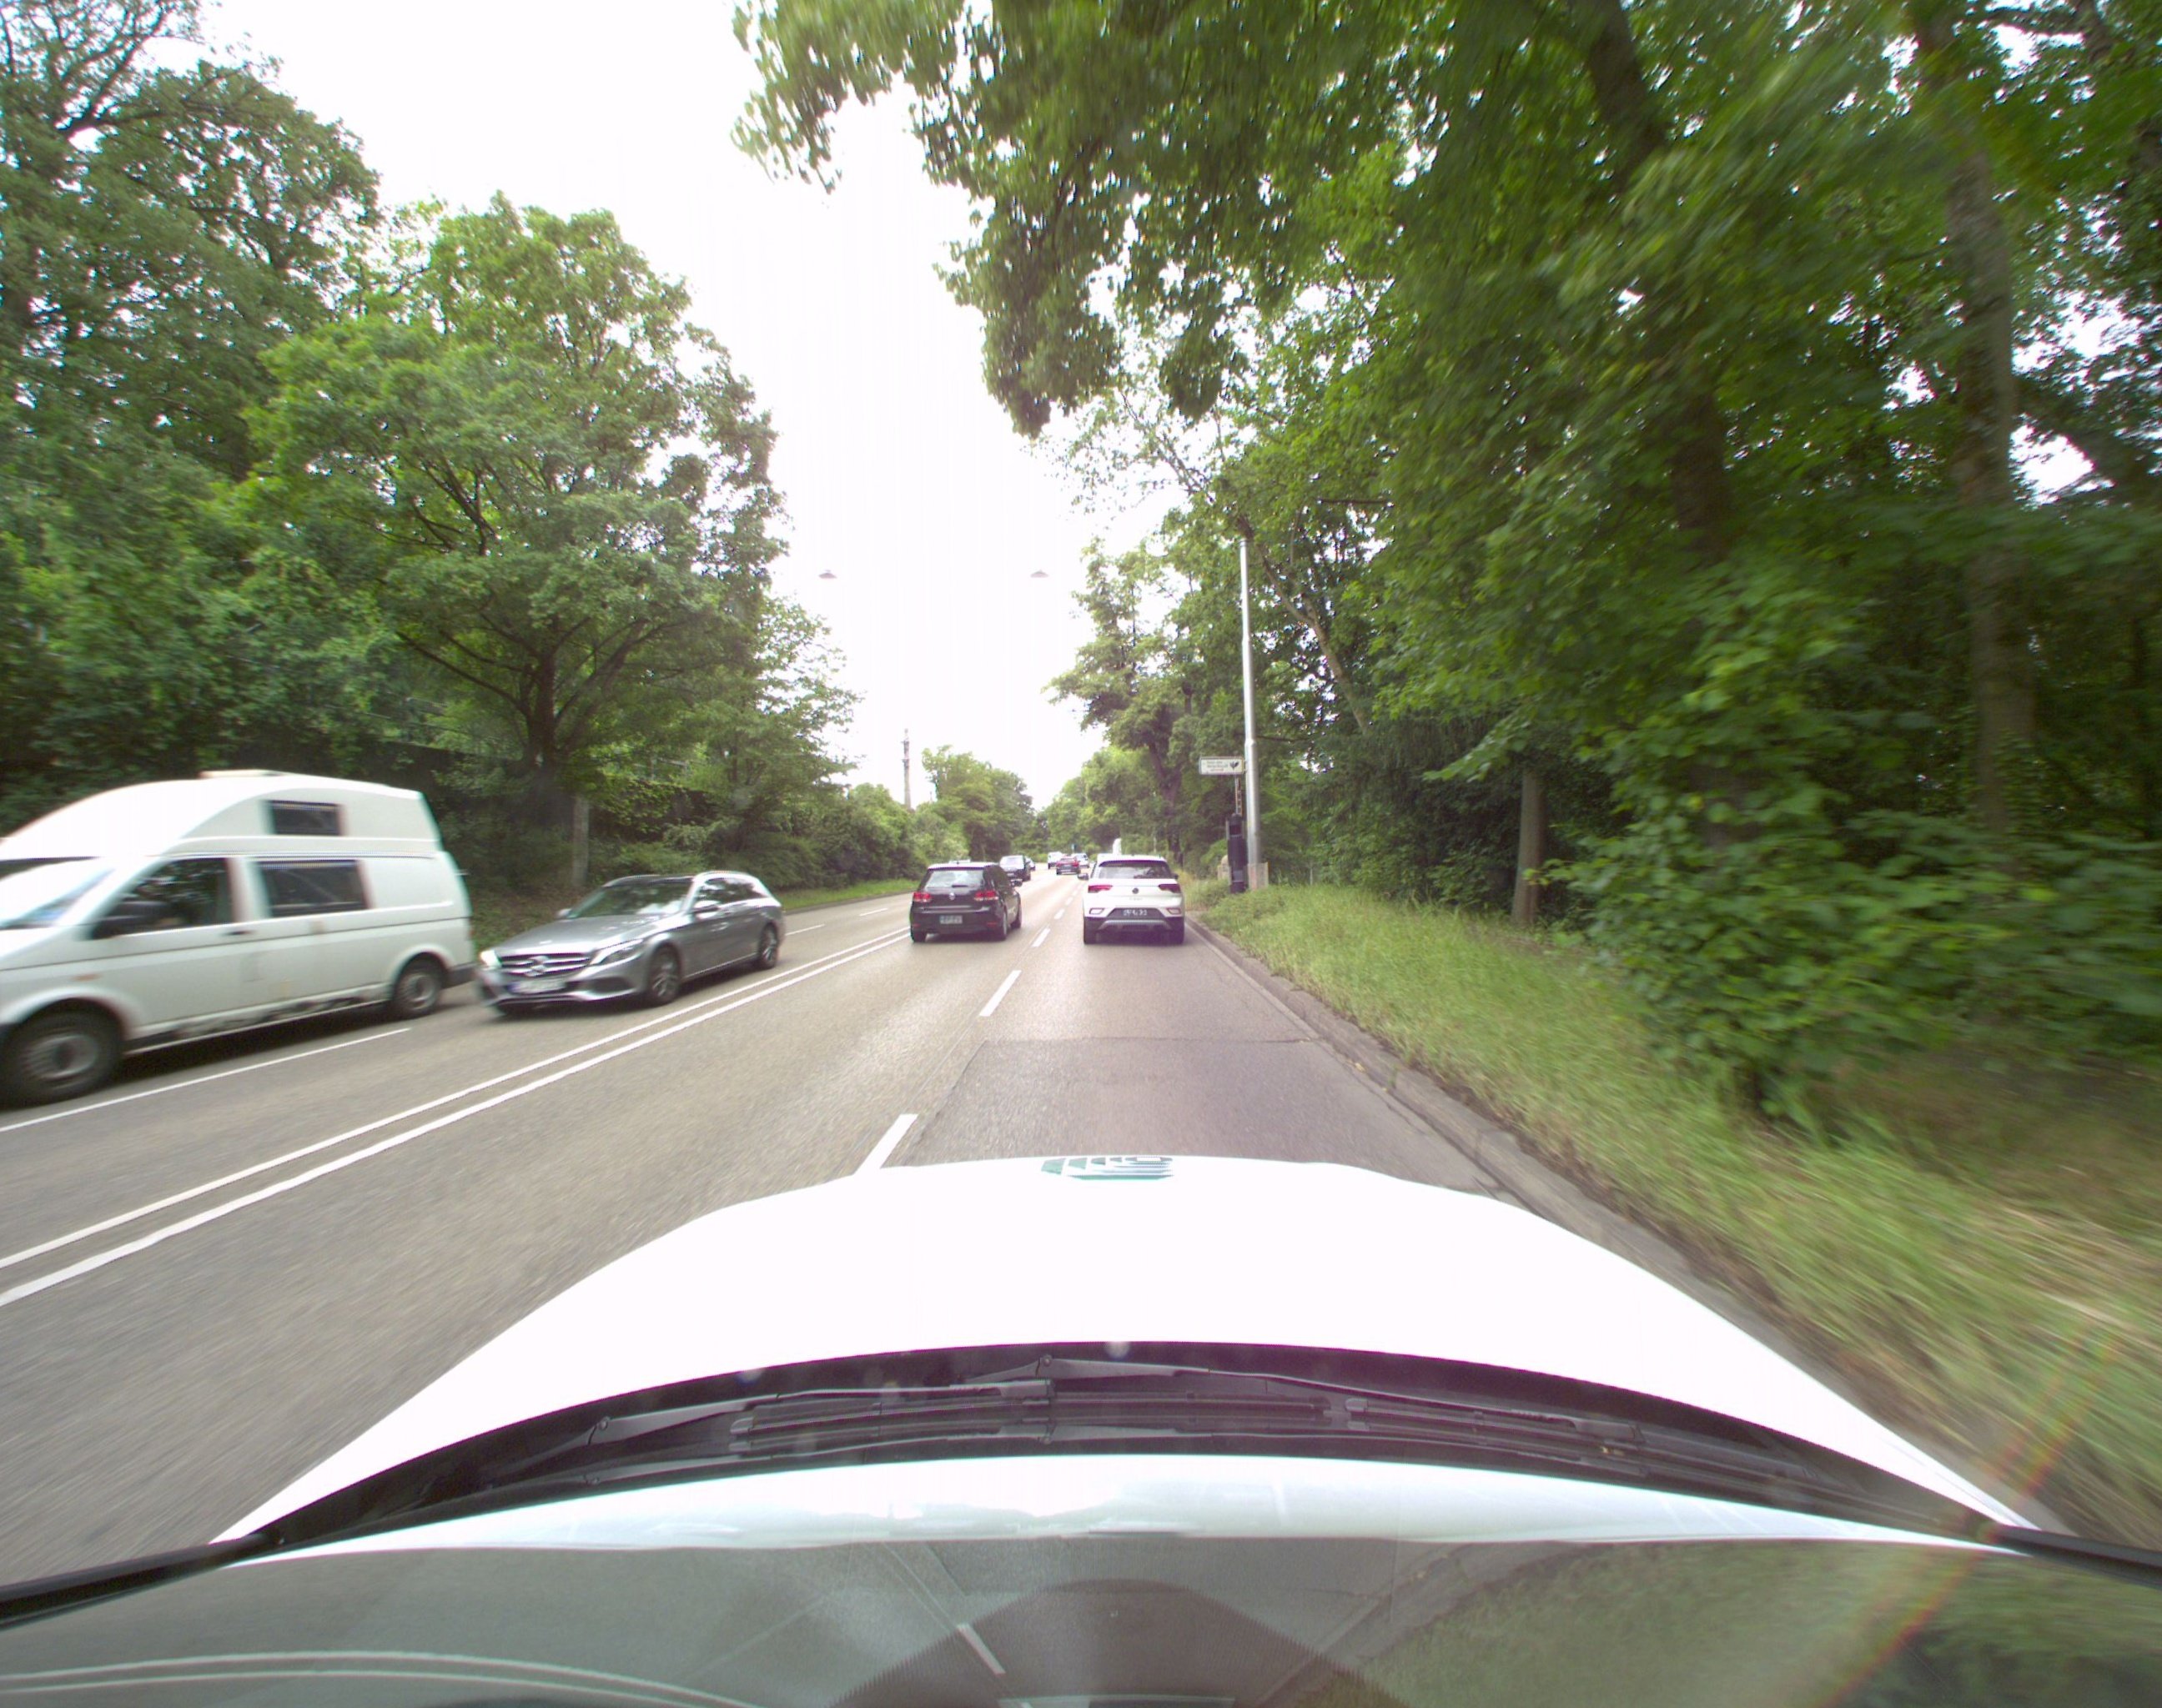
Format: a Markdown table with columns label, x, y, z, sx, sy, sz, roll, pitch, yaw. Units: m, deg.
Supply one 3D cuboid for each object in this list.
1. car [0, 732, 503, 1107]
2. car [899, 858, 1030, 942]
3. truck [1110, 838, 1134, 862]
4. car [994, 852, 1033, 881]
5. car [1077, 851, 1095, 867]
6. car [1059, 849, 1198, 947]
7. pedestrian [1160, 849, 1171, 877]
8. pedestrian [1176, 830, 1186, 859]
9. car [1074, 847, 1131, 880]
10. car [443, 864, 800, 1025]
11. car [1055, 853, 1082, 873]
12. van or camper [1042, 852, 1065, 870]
| label | x | y | z | sx | sy | sz | roll | pitch | yaw |
| --- | --- | --- | --- | --- | --- | --- | --- | --- | --- |
| car | -8.242 | 0.502 | 7.636 | 1.880 | 2.555 | 4.917 | -3 | 0 | 2 |
| car | -2.174 | 0.814 | 16.322 | 1.942 | 1.466 | 4.001 | 0 | 0 | 1 |
| truck | 5.611 | -0.469 | 111.269 | 2.477 | 3.182 | 7.219 | 0 | 0 | -4 |
| car | -4.183 | 0.819 | 51.416 | 1.803 | 1.662 | 4.832 | -3 | -2 | 2 |
| car | 0.592 | 0.493 | 85.987 | 1.815 | 1.623 | 4.001 | 0 | 0 | 1 |
| car | 0.741 | 0.728 | 15.456 | 1.998 | 1.596 | 3.991 | 0 | 0 | -6 |
| pedestrian | 5.154 | 0.531 | 49.724 | 0.607 | 1.698 | 0.548 | 0 | -1 | -2 |
| pedestrian | 6.158 | -0.595 | 49.967 | 0.518 | 1.753 | 0.524 | 0 | -1 | -2 |
| car | 1.194 | 0.518 | 46.774 | 1.858 | 1.702 | 3.973 | -4 | 1 | -20 |
| car | -5.347 | 0.927 | 10.340 | 1.832 | 1.465 | 4.467 | -3 | 0 | 2 |
| car | -0.980 | 0.738 | 66.364 | 1.986 | 1.592 | 4.001 | 0 | 0 | 1 |
| van or camper | -3.451 | 0.921 | 100.176 | 1.994 | 2.013 | 5.350 | -5 | 0 | -10 |
